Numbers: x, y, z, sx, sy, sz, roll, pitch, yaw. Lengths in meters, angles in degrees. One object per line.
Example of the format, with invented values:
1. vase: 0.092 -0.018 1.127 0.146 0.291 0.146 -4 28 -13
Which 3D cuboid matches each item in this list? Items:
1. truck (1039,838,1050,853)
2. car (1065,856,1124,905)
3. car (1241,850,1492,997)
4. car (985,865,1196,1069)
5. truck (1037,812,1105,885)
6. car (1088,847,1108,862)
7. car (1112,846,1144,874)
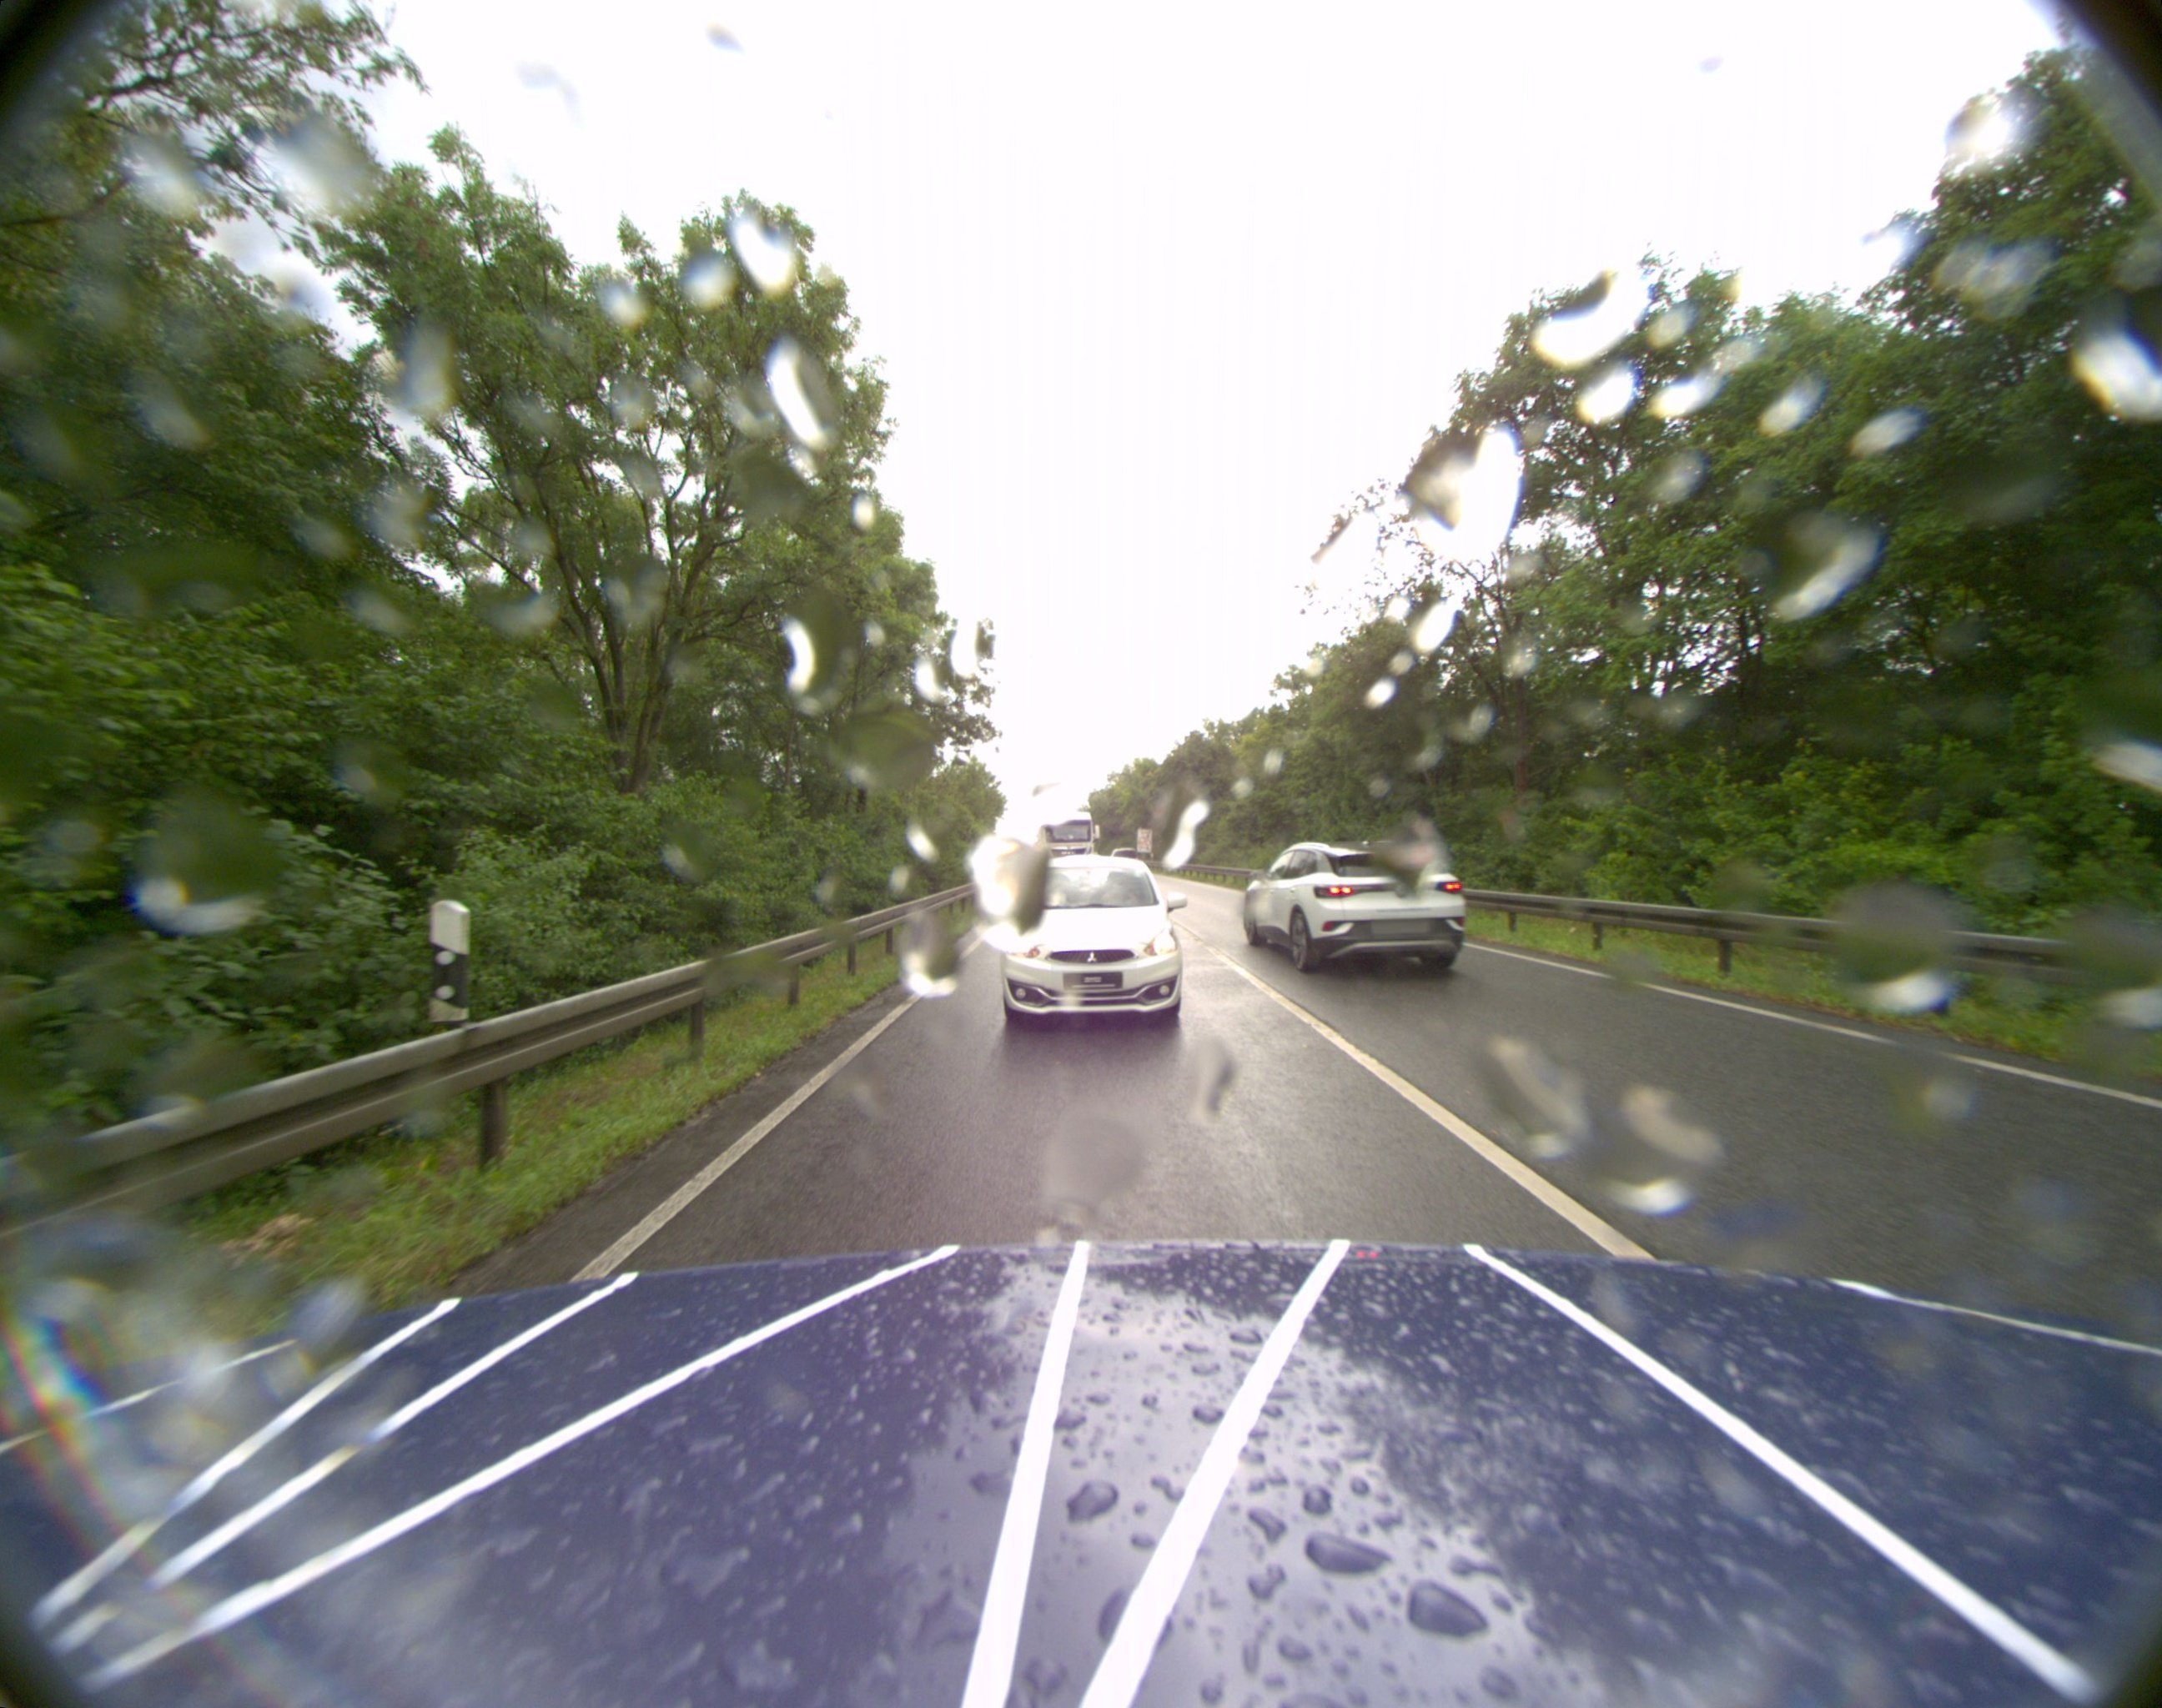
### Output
1. truck: -7.425 -1.715 154.428 1.999 3.023 6.583 -2 1 -3
2. car: 0.369 0.805 25.453 1.641 1.413 4.490 -2 0 -3
3. car: 3.507 0.735 10.252 1.811 1.523 4.206 -2 0 1
4. car: 0.065 0.915 8.068 1.610 1.435 4.208 -2 1 0
5. truck: -0.739 -0.346 40.637 3.137 3.364 9.278 -2 1 -3
6. car: 1.654 0.036 75.624 1.733 1.423 3.848 -2 1 -2
7. car: 3.165 0.377 51.571 1.819 1.676 4.621 -2 1 0
